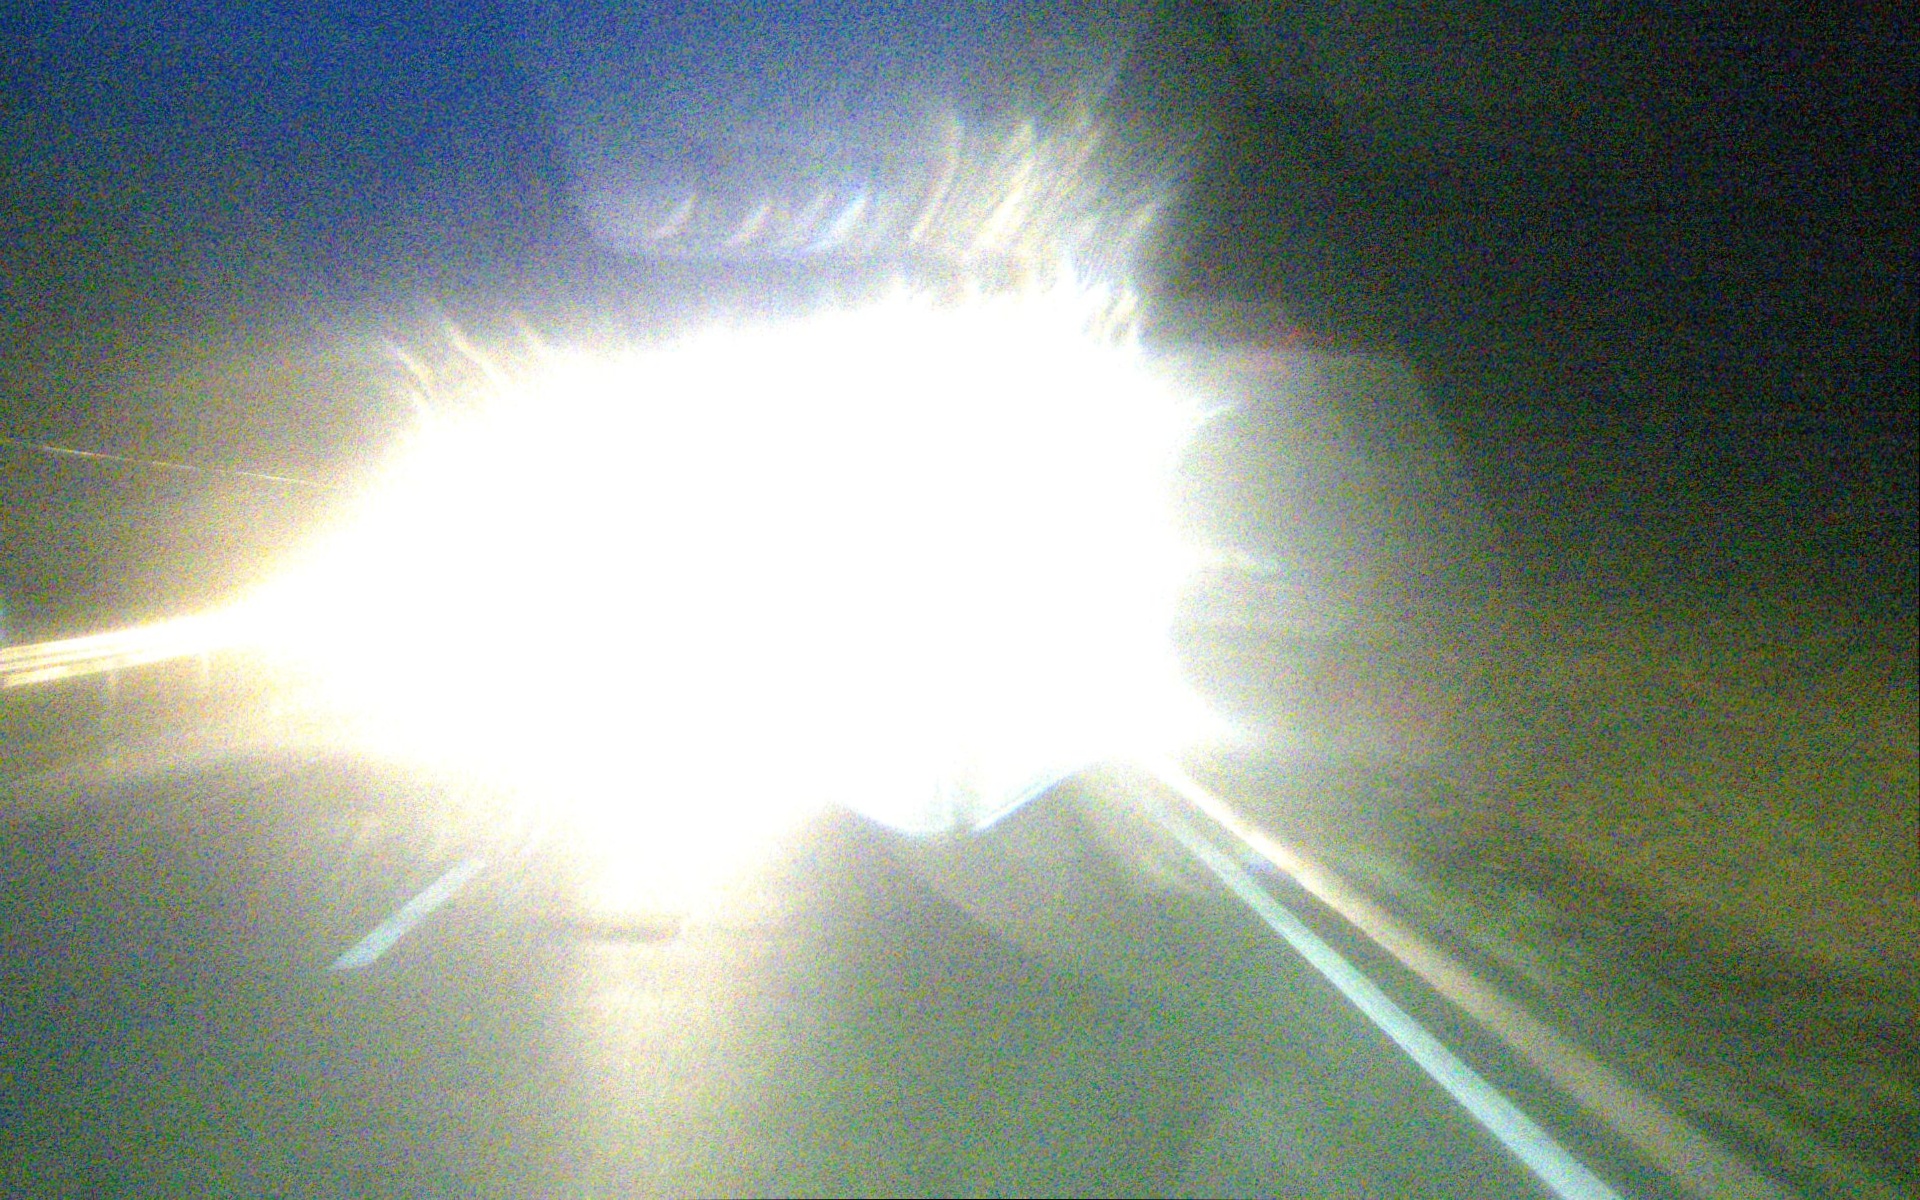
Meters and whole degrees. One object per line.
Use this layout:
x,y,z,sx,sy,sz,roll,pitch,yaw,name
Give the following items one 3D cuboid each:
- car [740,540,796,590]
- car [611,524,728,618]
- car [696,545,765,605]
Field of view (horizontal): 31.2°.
-6.059,-1.111,108.422,1.644,1.420,4.124,3,1,-3,car
-5.231,-0.563,62.387,1.808,1.594,4.632,1,1,-2,car
-5.968,-0.666,89.661,1.644,1.420,3.659,3,1,-2,car
